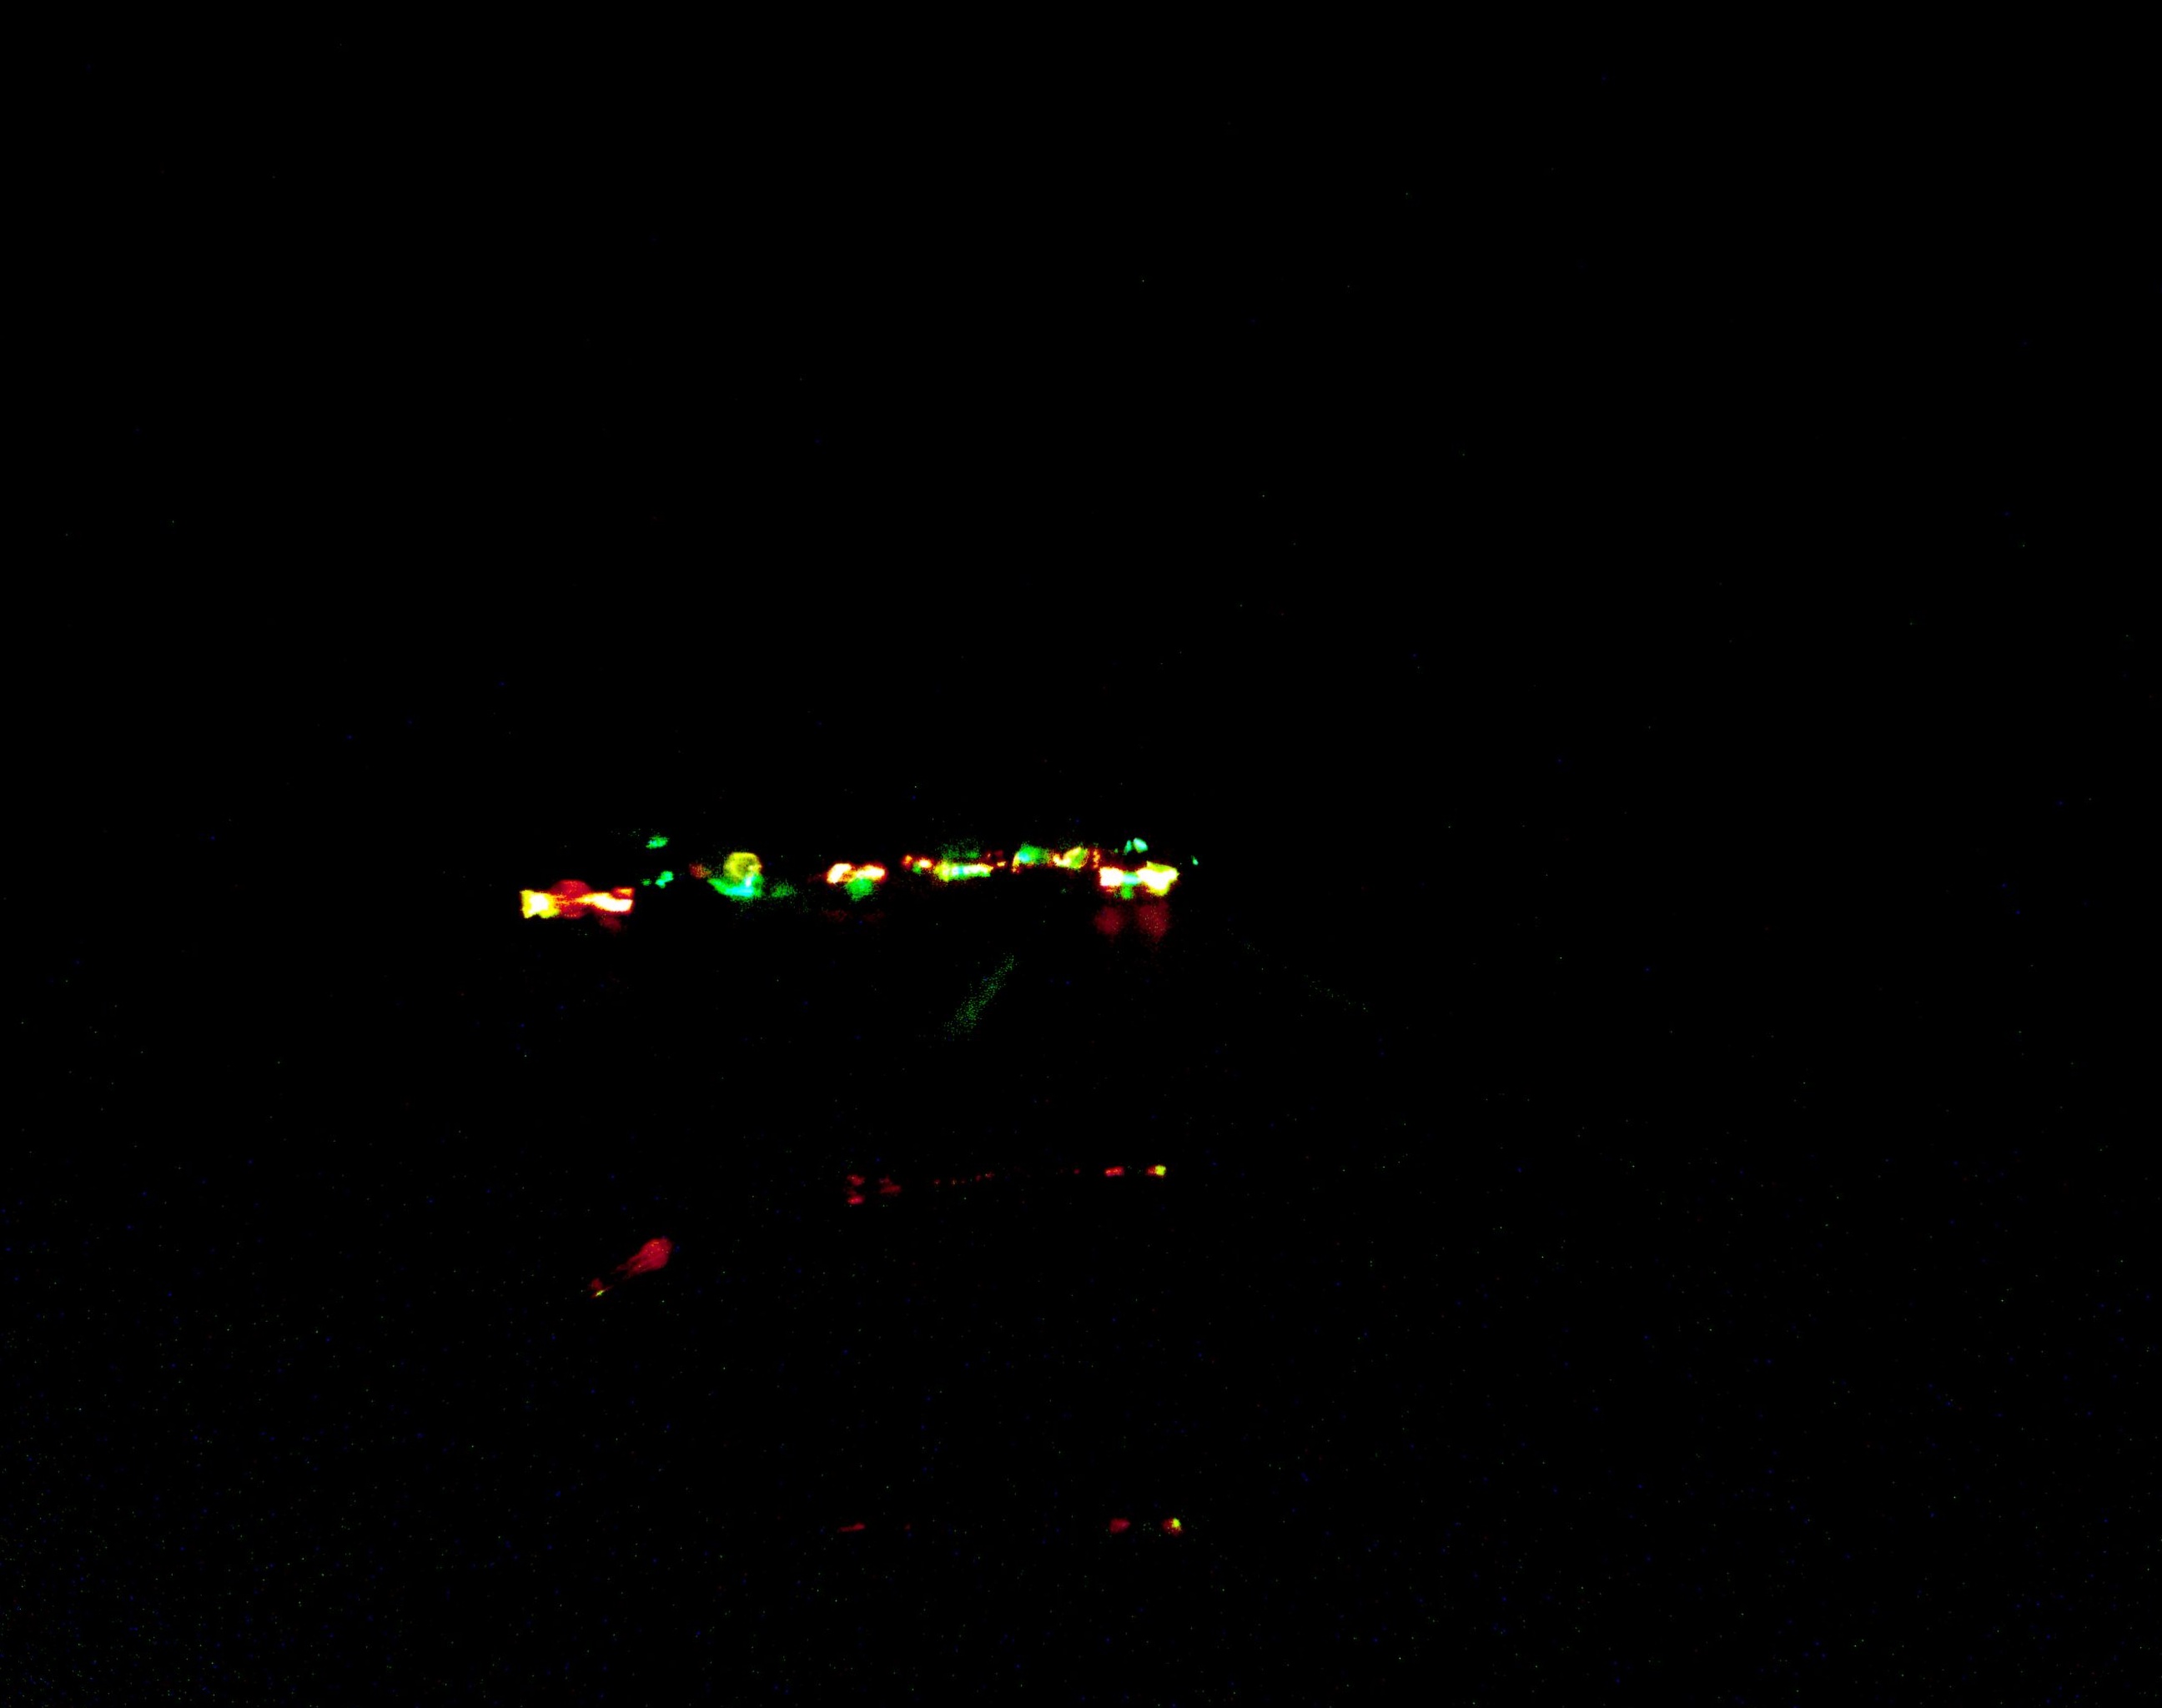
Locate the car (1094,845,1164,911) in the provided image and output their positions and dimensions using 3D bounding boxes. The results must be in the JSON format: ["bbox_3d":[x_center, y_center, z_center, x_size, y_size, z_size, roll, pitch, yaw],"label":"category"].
[{"bbox_3d":[1.382,0.657,24.055,1.871,1.762,4.002,0,0,2],"label":"car"}]

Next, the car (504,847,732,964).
[{"bbox_3d":[-7.661,0.738,13.990,1.761,1.689,3.996,-1,1,-3],"label":"car"}]

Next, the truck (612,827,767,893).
[{"bbox_3d":[-30.252,0.443,64.686,3.397,4.558,17.604,0,0,1],"label":"truck"}]

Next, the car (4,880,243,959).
[{"bbox_3d":[-25.204,1.650,21.676,1.624,1.804,3.913,0,0,2],"label":"car"}]

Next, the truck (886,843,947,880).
[{"bbox_3d":[-10.283,0.464,51.416,2.850,2.201,5.853,0,0,-2],"label":"truck"}]

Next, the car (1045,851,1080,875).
[{"bbox_3d":[-1.615,0.783,73.523,2.822,2.013,5.513,0,0,2],"label":"car"}]

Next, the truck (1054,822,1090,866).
[{"bbox_3d":[-1.156,-1.141,100.674,4.150,5.215,9.948,0,0,-1],"label":"truck"}]

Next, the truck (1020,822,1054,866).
[{"bbox_3d":[-5.736,-1.231,107.733,4.243,5.444,10.875,0,0,-2],"label":"truck"}]

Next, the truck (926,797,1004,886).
[{"bbox_3d":[-6.640,-0.672,48.327,3.647,4.737,9.842,0,0,-3],"label":"truck"}]

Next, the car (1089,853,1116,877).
[{"bbox_3d":[1.659,0.795,61.682,1.986,1.704,4.460,0,0,2],"label":"car"}]

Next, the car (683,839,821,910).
[{"bbox_3d":[-10.699,0.600,27.066,2.115,2.104,5.632,-1,0,2],"label":"car"}]

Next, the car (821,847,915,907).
[{"bbox_3d":[-6.674,0.676,26.024,2.035,1.761,4.509,0,0,-4],"label":"car"}]
